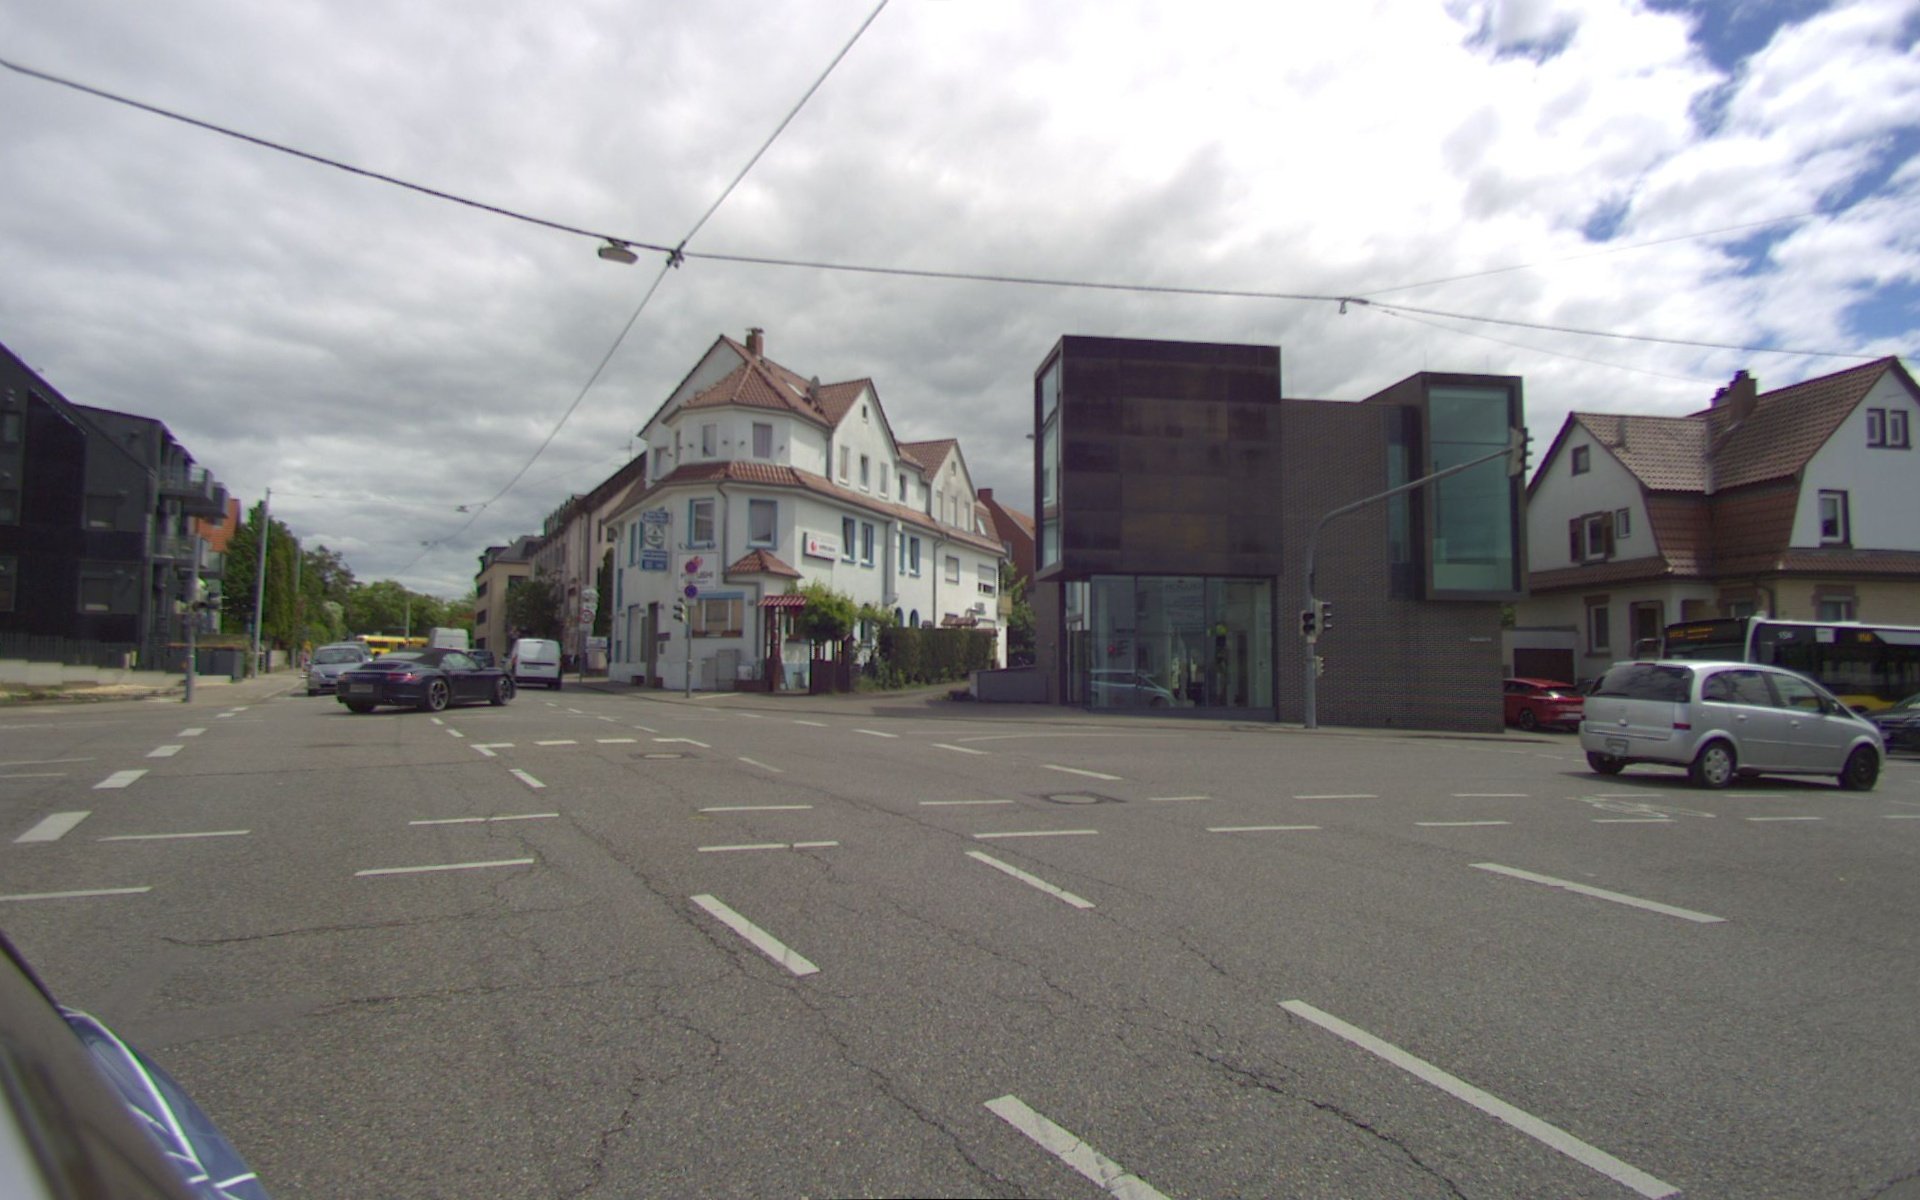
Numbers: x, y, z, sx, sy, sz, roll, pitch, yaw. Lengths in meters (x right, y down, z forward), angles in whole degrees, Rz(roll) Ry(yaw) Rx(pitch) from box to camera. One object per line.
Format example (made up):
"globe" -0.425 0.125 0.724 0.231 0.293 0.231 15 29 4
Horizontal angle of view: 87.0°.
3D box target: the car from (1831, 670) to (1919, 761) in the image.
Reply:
"car" 19.737 2.251 19.705 3.938 1.652 2.003 2 -3 -6

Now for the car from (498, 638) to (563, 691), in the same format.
"car" -16.043 2.415 37.692 1.790 1.826 4.432 3 -5 -27

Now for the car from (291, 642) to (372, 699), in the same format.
"car" -19.847 2.198 32.079 1.966 1.697 4.012 3 -4 -30

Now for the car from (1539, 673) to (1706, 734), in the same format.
"car" 20.026 3.097 30.822 1.967 1.697 4.008 2 -4 -10

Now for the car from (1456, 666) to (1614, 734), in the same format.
"car" 17.123 2.944 30.384 1.967 1.652 4.009 2 -1 -10

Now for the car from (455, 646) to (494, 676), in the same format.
"car" -34.553 4.316 72.017 1.966 2.029 4.011 3 -4 -32

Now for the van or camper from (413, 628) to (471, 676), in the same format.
"van or camper" -30.620 3.085 59.717 2.079 2.606 5.658 6 -6 -35

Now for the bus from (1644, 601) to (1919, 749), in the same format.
"bus" 21.053 1.767 23.383 9.045 3.084 2.791 2 -3 -8

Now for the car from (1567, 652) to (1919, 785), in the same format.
"car" 10.451 1.573 13.560 3.933 1.587 1.780 3 -4 -17

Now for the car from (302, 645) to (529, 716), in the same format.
"car" -11.181 1.630 21.190 1.977 1.292 4.291 1 -3 9
